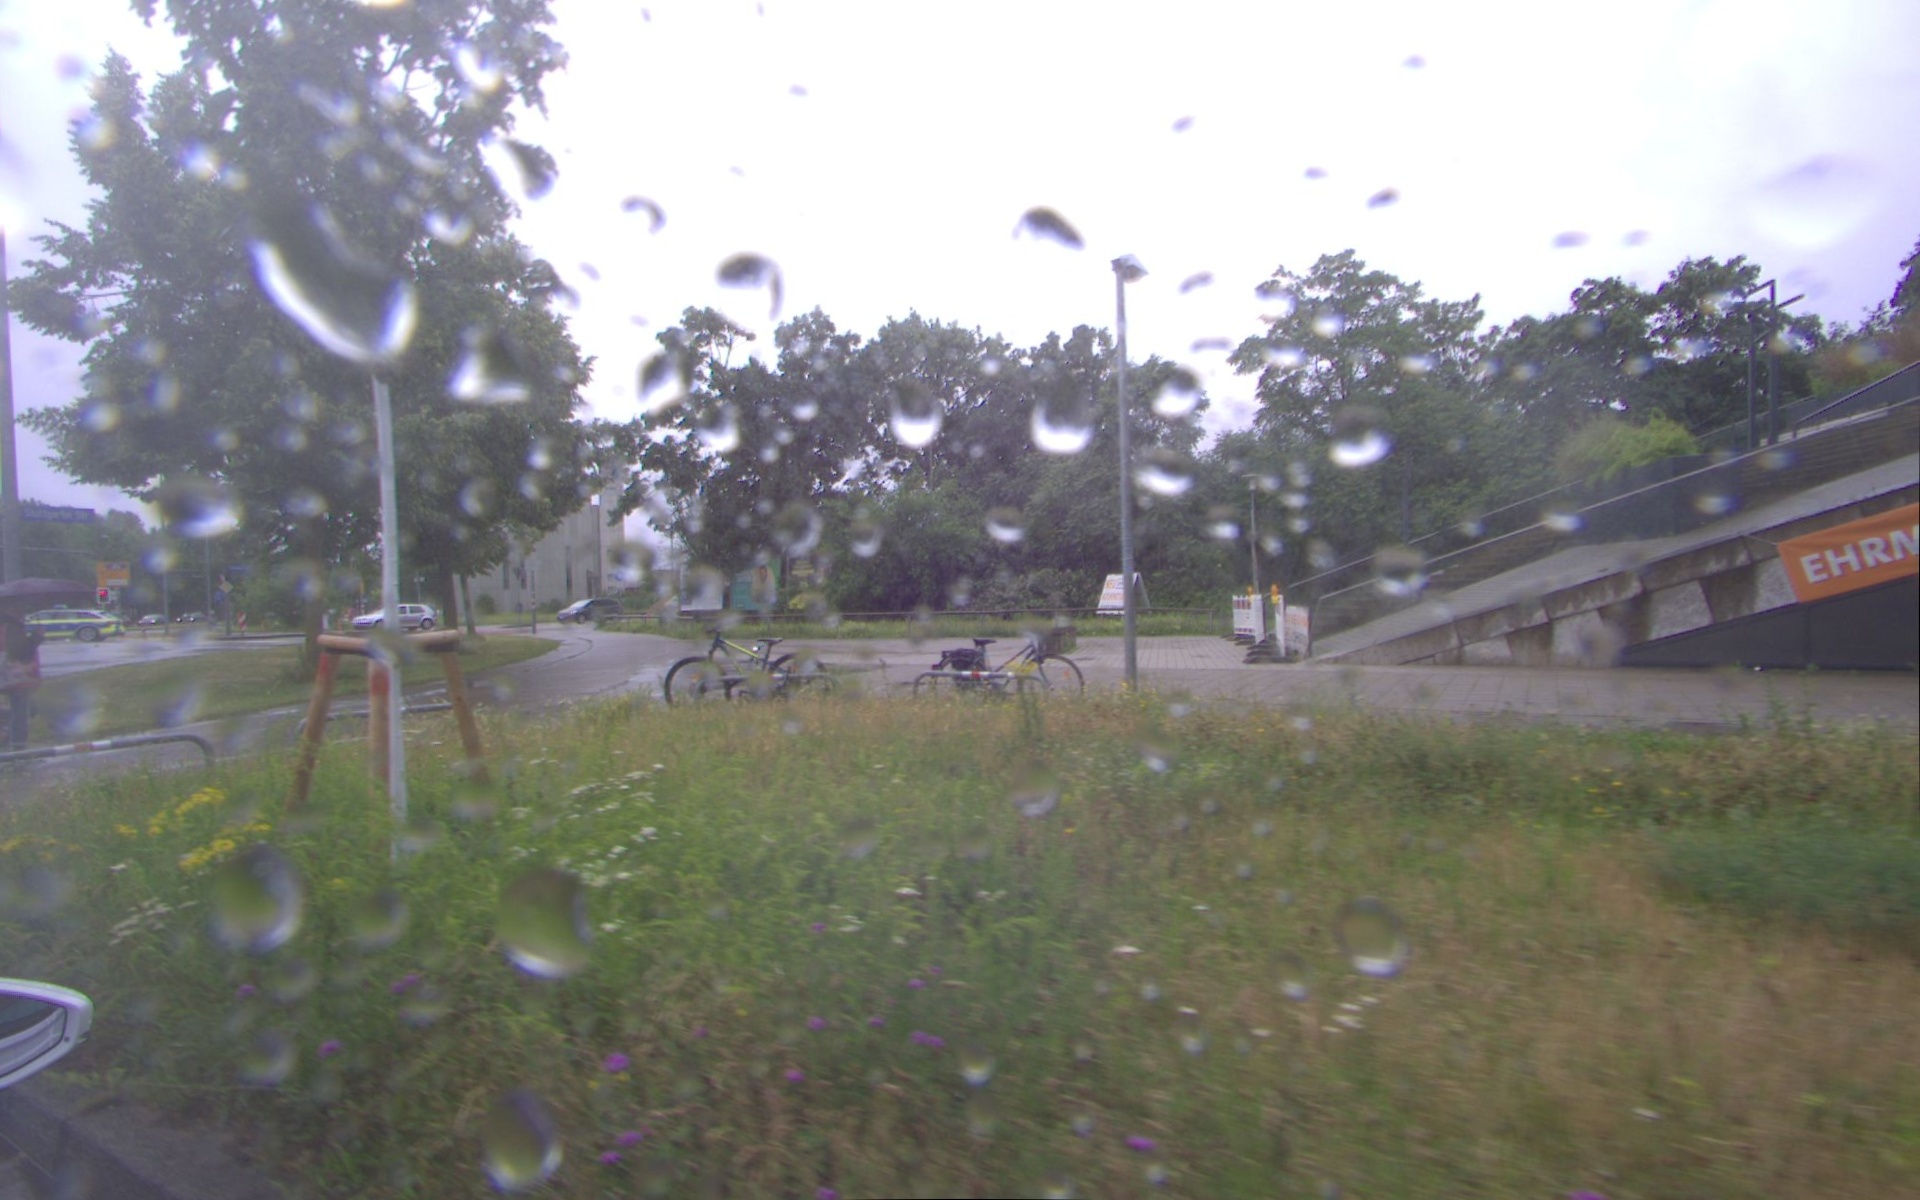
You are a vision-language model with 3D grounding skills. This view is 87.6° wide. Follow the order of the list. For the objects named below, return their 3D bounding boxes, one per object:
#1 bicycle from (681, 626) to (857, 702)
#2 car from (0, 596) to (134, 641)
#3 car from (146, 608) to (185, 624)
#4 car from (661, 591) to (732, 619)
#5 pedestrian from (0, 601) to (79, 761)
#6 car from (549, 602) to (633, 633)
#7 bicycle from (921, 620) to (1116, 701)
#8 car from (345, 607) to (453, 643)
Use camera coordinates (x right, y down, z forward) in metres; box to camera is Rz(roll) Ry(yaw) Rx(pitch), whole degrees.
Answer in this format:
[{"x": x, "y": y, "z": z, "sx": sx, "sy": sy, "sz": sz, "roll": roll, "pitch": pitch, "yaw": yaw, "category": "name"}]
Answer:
[{"x": -2.033, "y": 0.684, "z": 10.781, "sx": 1.823, "sy": 0.797, "sz": 0.380, "roll": 0, "pitch": -2, "yaw": -1, "category": "bicycle"}, {"x": -40.172, "y": 0.805, "z": 44.736, "sx": 4.707, "sy": 1.876, "sz": 1.989, "roll": -1, "pitch": 0, "yaw": -30, "category": "car"}, {"x": -86.192, "y": 1.737, "z": 108.717, "sx": 1.770, "sy": 1.684, "sz": 4.401, "roll": -1, "pitch": 0, "yaw": -16, "category": "car"}, {"x": -19.177, "y": 0.411, "z": 73.055, "sx": 1.979, "sy": 1.874, "sz": 4.736, "roll": -2, "pitch": -3, "yaw": 43, "category": "car"}, {"x": -9.105, "y": 0.768, "z": 9.679, "sx": 0.564, "sy": 1.480, "sz": 0.679, "roll": -1, "pitch": 1, "yaw": 28, "category": "pedestrian"}, {"x": -23.852, "y": 1.180, "z": 64.855, "sx": 1.977, "sy": 1.874, "sz": 4.740, "roll": -2, "pitch": -3, "yaw": 40, "category": "car"}, {"x": 0.600, "y": 0.623, "z": 10.380, "sx": 1.972, "sy": 0.797, "sz": 0.454, "roll": -1, "pitch": -2, "yaw": 16, "category": "bicycle"}, {"x": -30.310, "y": 1.393, "z": 54.274, "sx": 1.972, "sy": 1.874, "sz": 4.752, "roll": -1, "pitch": -3, "yaw": 32, "category": "car"}]
